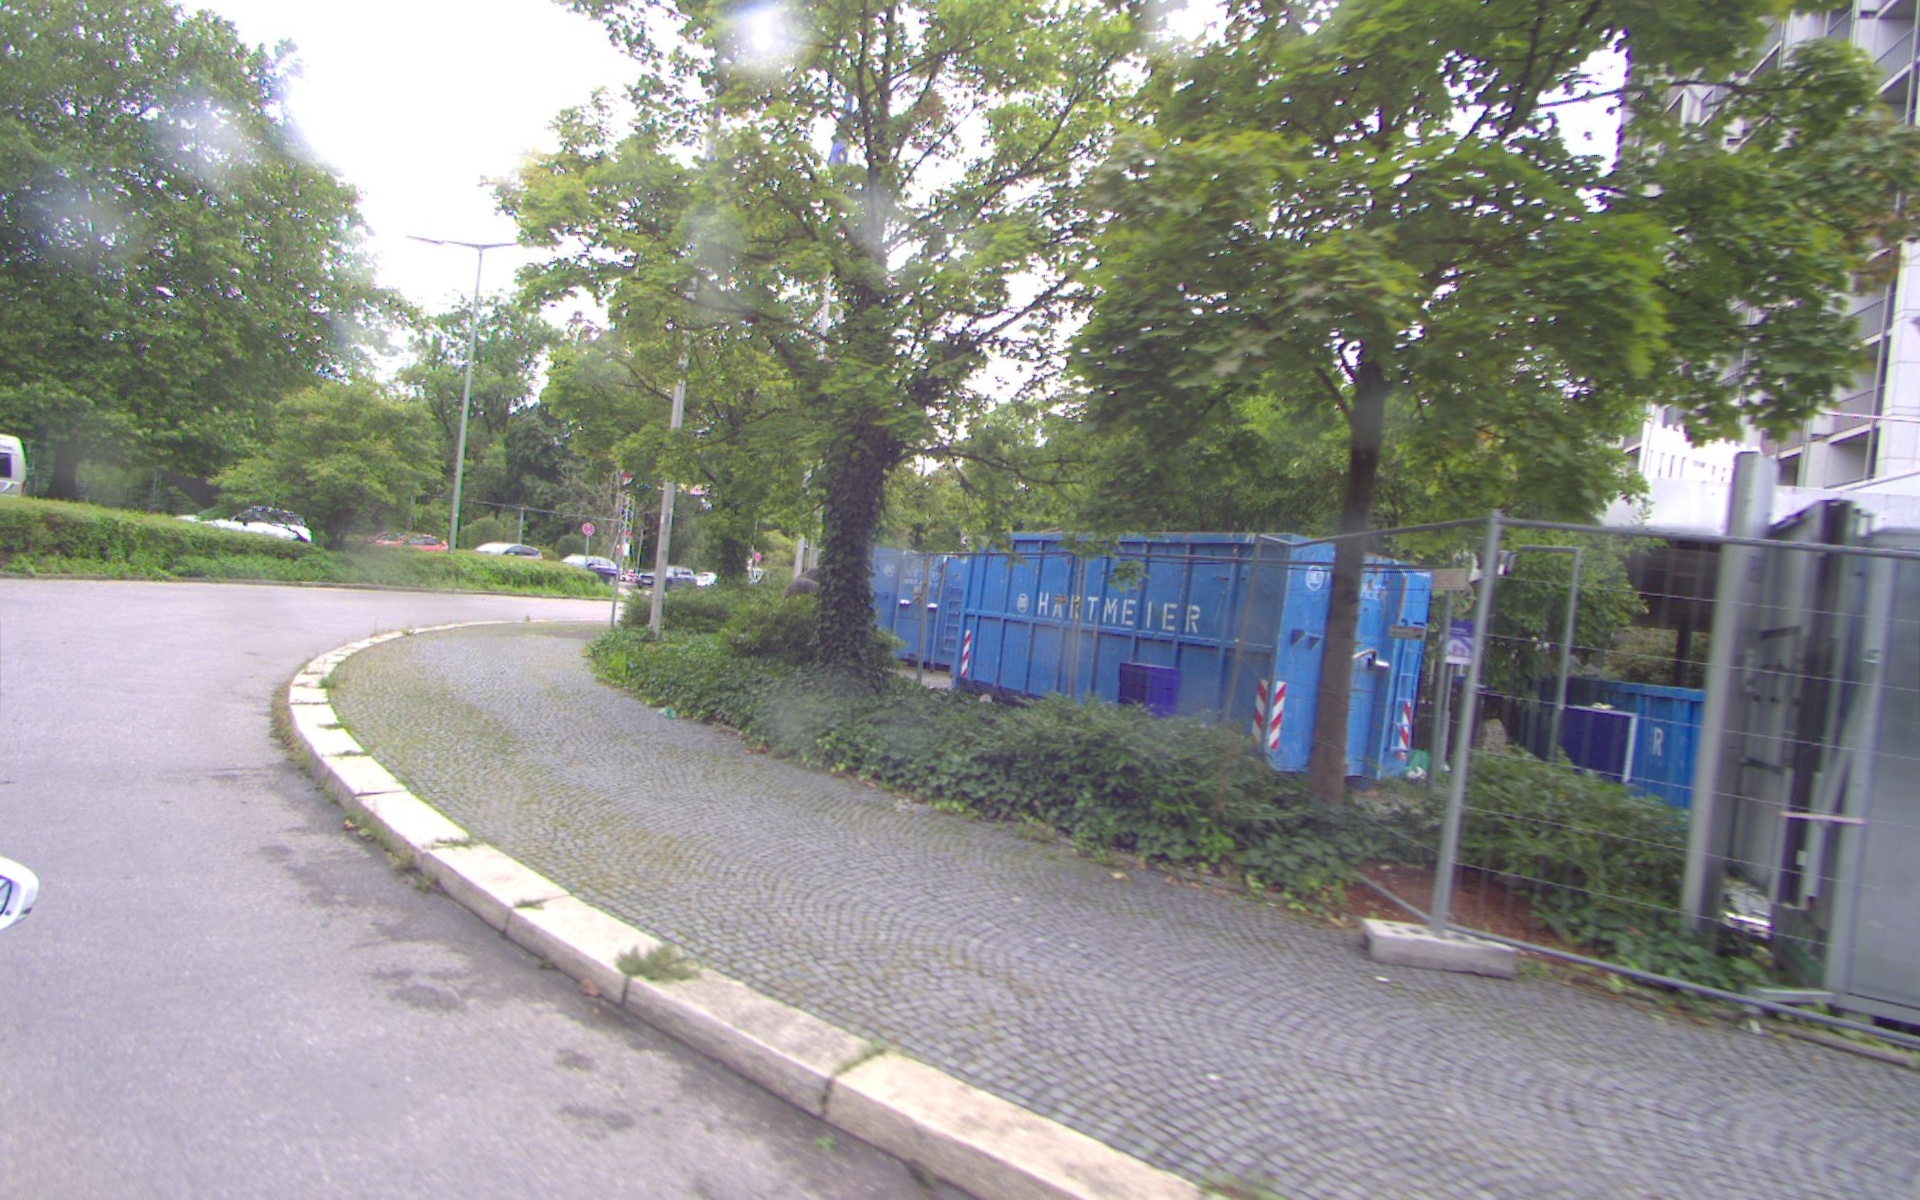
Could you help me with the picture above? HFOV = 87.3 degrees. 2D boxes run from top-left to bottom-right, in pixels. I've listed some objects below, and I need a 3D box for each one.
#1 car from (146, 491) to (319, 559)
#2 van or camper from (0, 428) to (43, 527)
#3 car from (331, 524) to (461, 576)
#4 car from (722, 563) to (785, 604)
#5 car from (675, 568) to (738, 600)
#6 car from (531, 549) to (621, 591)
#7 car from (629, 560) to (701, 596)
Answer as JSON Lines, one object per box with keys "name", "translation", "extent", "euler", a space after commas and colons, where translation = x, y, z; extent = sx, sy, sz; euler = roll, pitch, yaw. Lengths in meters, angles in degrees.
{"name": "car", "translation": [-23.021, -2.341, 32.032], "extent": [1.962, 1.527, 4.001], "euler": [7, 0, 15]}
{"name": "van or camper", "translation": [-24.376, -3.167, 22.171], "extent": [2.213, 2.309, 6.419], "euler": [7, -1, 0]}
{"name": "car", "translation": [-21.293, -1.860, 38.162], "extent": [1.962, 1.426, 4.001], "euler": [7, 0, 15]}
{"name": "car", "translation": [-13.741, -1.045, 67.266], "extent": [2.164, 2.255, 4.872], "euler": [7, 0, 13]}
{"name": "car", "translation": [-15.449, -0.946, 61.521], "extent": [1.962, 1.593, 4.002], "euler": [7, 0, 13]}
{"name": "car", "translation": [-18.604, -1.431, 48.881], "extent": [1.962, 1.593, 4.001], "euler": [7, 0, 15]}
{"name": "car", "translation": [-16.553, -1.214, 56.602], "extent": [1.962, 1.593, 4.001], "euler": [7, 0, 15]}
